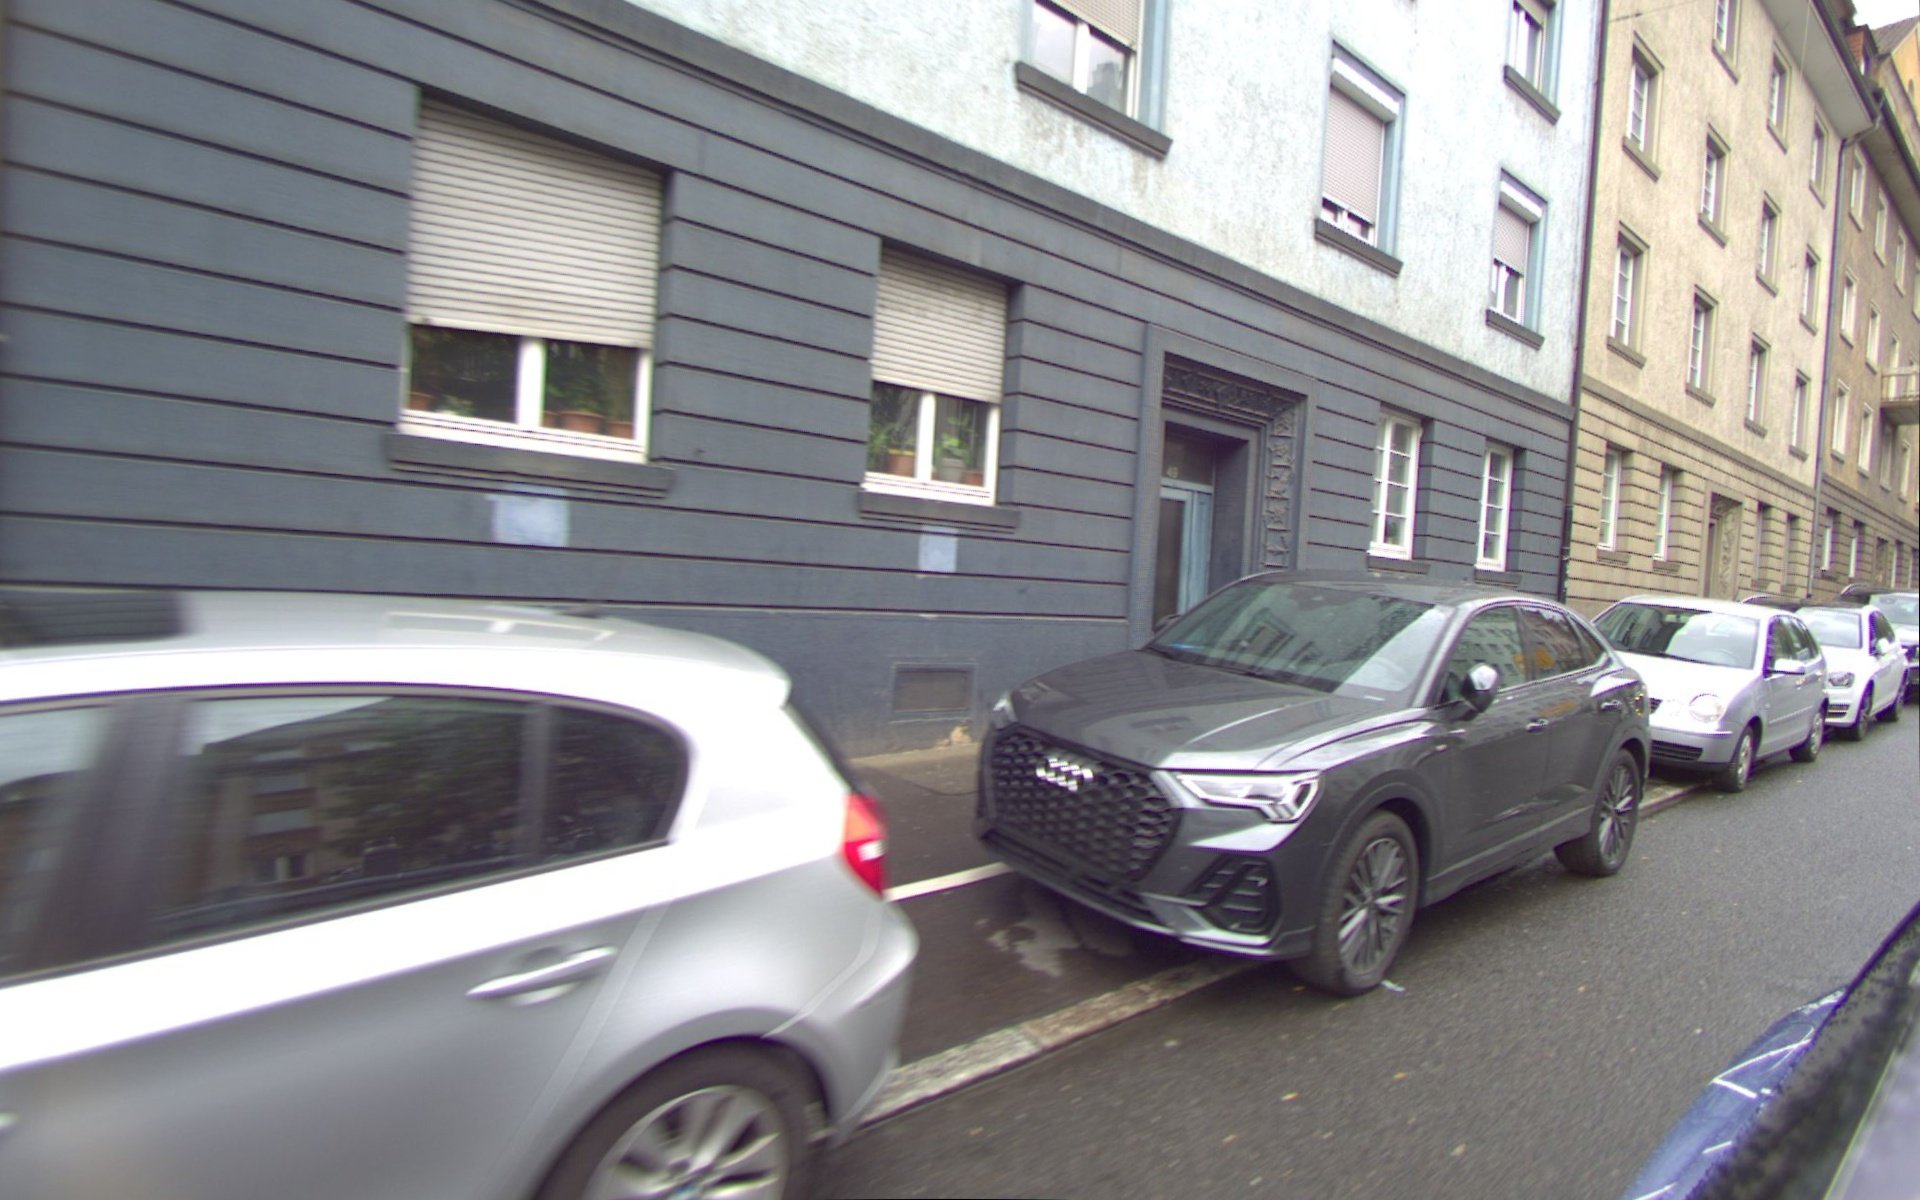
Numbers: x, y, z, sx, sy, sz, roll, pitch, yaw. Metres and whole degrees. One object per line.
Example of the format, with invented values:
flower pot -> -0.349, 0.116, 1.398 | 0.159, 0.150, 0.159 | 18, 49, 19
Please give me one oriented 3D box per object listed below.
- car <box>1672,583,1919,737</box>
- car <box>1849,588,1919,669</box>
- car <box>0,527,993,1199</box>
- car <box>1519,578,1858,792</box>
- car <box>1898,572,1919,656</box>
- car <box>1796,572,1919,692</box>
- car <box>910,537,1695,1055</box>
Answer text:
car -> 10.340, 0.610, 12.311 | 3.903, 1.446, 1.734 | 0, 5, -40
car -> 19.309, 0.548, 20.105 | 4.311, 1.426, 1.845 | 0, 5, -41
car -> -1.992, 0.630, 1.668 | 4.016, 1.481, 1.574 | 0, 4, -40
car -> 6.659, 0.608, 9.132 | 3.531, 1.446, 1.587 | 0, 5, -40
car -> 23.250, 0.363, 23.355 | 4.008, 1.839, 1.795 | 0, 4, -40
car -> 15.034, 0.435, 16.187 | 4.135, 1.640, 1.845 | -1, 4, -41
car -> 1.998, 0.568, 5.211 | 4.216, 1.576, 1.823 | 0, 4, -40
